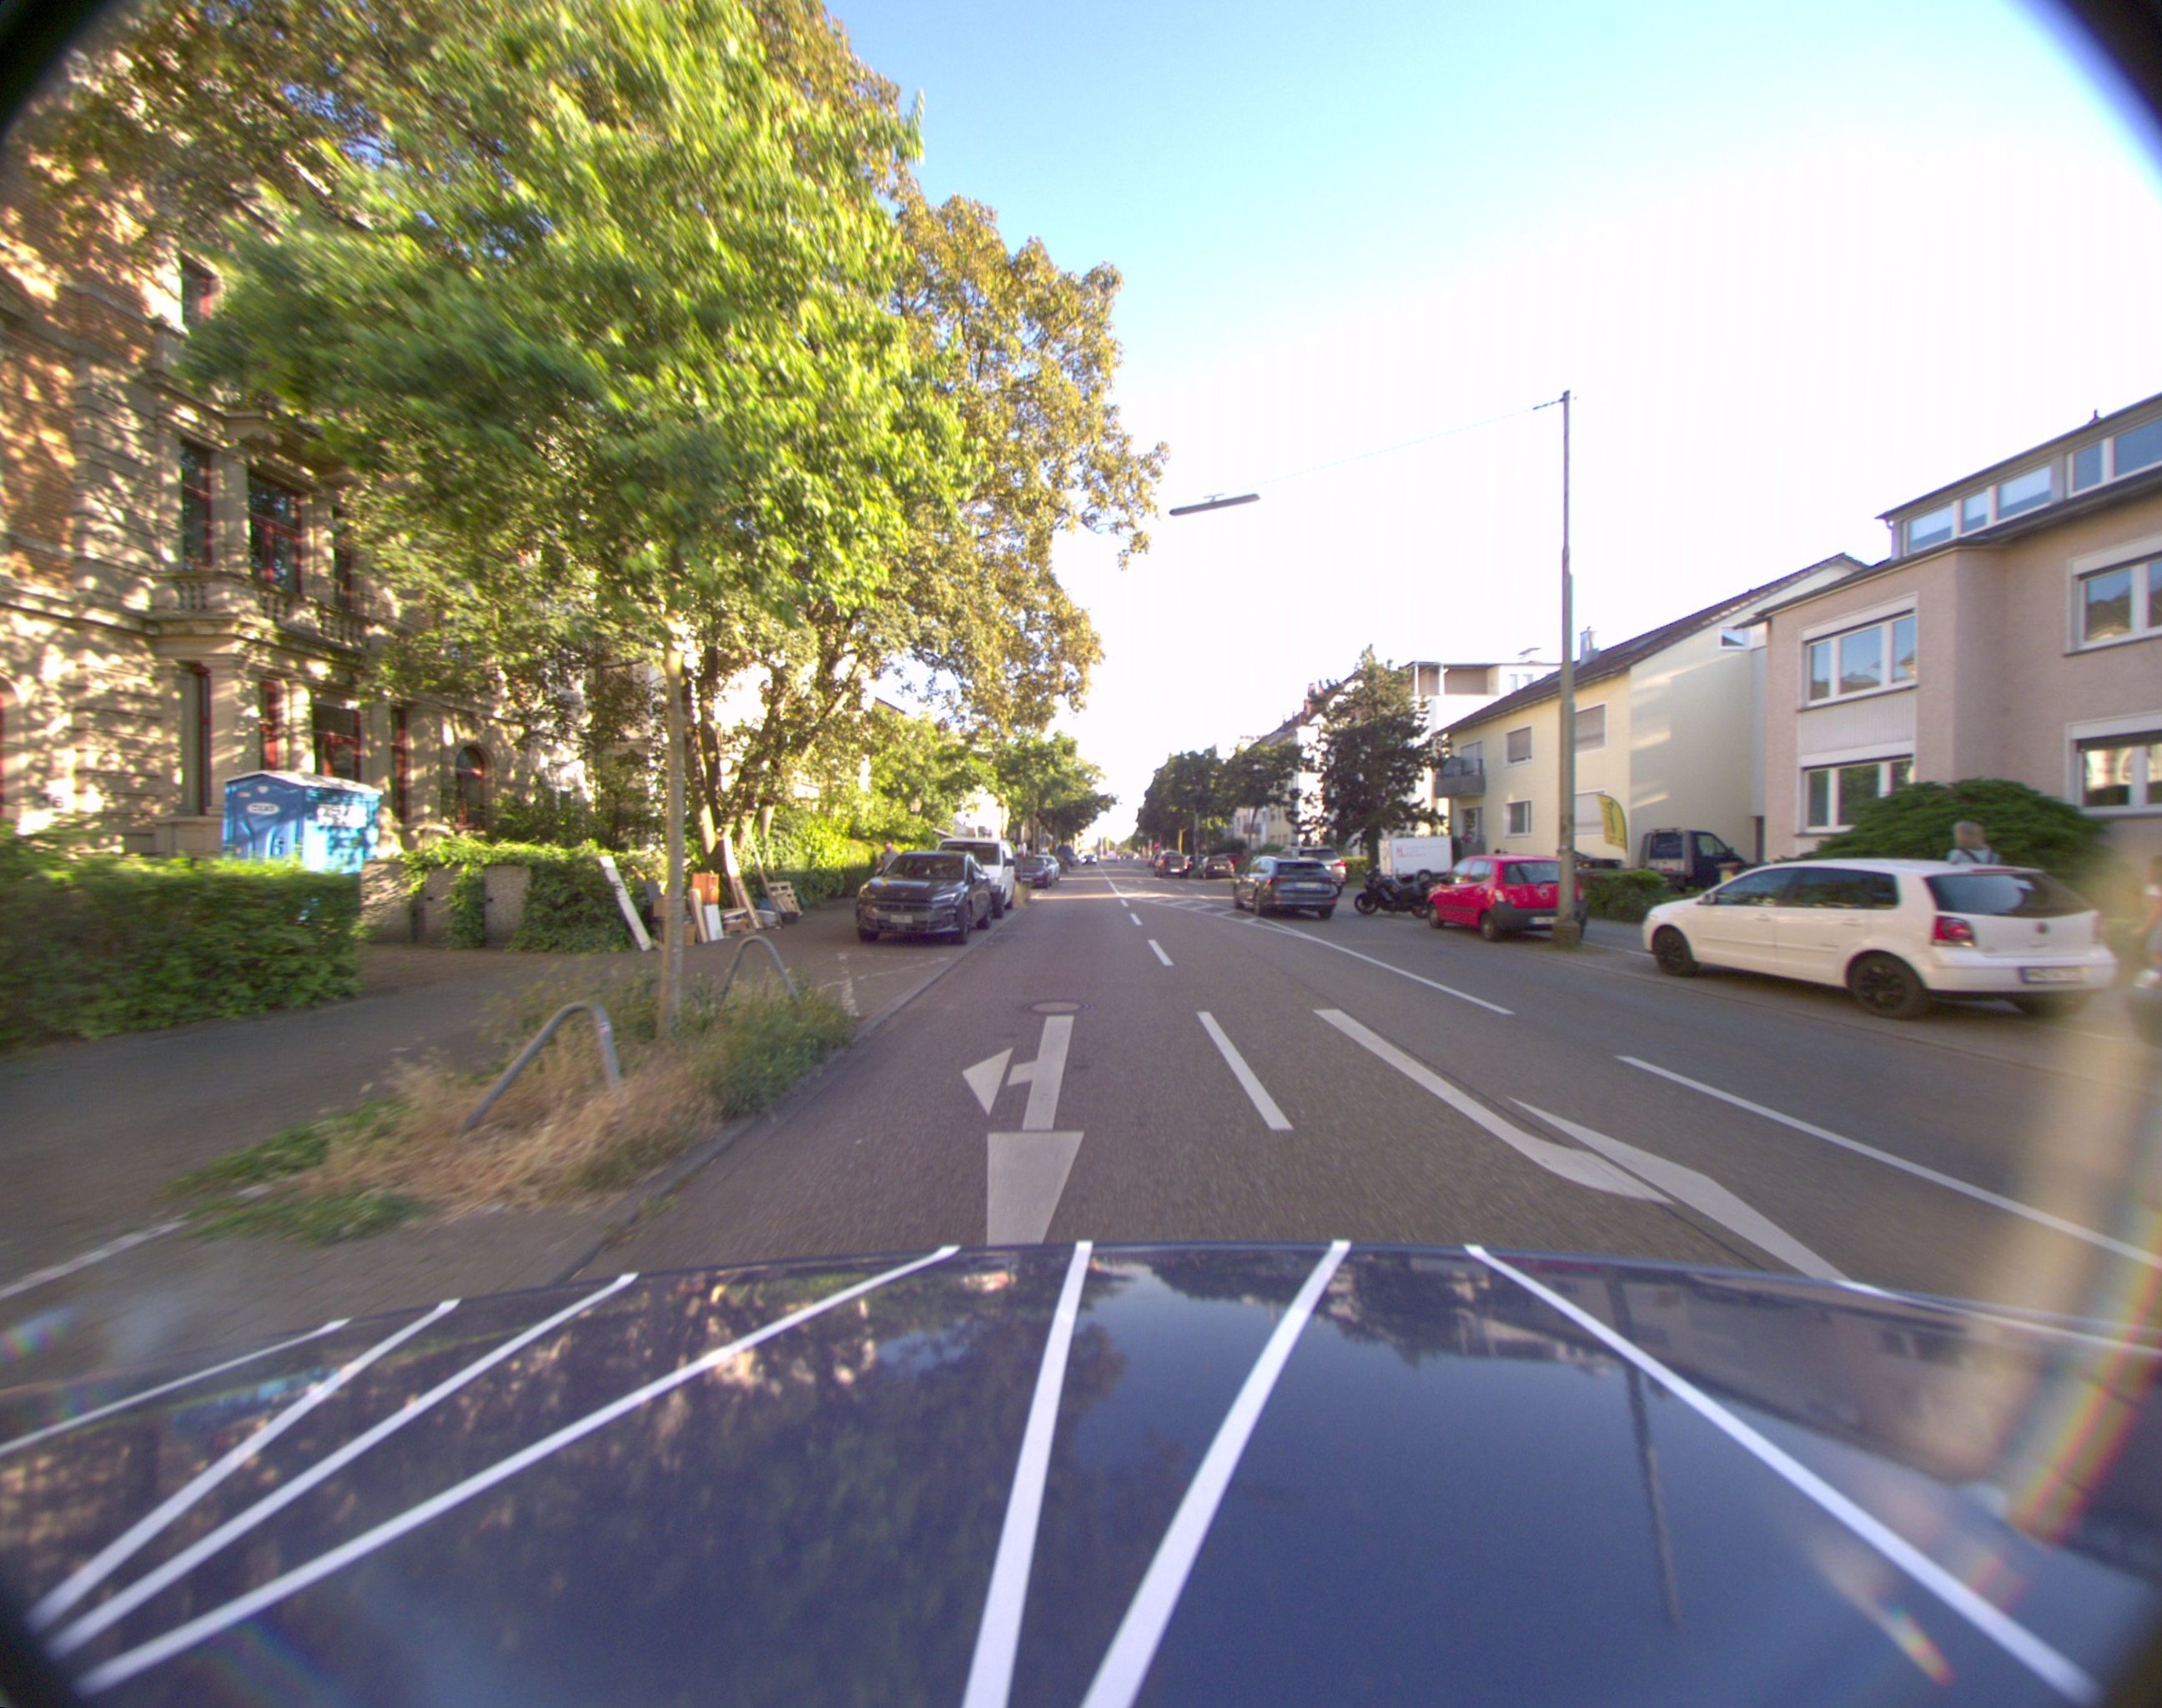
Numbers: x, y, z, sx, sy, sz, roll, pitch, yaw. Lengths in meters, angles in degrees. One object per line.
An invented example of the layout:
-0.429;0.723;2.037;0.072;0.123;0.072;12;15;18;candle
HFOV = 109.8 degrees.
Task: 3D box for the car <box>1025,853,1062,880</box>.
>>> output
-2.114;0.685;43.809;1.825;1.469;4.621;0;0;1;car

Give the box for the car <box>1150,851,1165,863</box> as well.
8.833;0.329;87.923;1.407;1.397;3.683;0;0;2;car

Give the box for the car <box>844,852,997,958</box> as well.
-2.774;0.804;14.184;1.860;1.594;4.311;2;0;0;car

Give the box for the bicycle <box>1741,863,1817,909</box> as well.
17.531;0.783;19.130;0.333;1.080;1.711;0;1;1;bicycle

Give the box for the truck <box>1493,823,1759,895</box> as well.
17.397;0.153;24.537;6.912;2.172;2.276;0;1;1;truck

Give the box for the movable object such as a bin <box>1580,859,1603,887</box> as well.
18.278;0.679;27.211;0.504;1.013;0.450;0;1;0;movable object such as a bin

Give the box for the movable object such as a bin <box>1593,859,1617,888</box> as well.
18.312;0.682;26.563;0.504;1.013;0.450;0;1;0;movable object such as a bin

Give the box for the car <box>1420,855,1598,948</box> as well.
7.875;0.792;14.352;1.596;1.514;3.437;0;0;4;car

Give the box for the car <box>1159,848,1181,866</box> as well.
9.009;0.279;77.318;1.740;1.799;4.191;0;0;1;car

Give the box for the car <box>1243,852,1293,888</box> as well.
8.364;0.689;34.136;1.577;1.546;2.749;0;1;-1;car

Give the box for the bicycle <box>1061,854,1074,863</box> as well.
-1.517;0.535;86.465;1.469;1.058;0.445;0;1;1;bicycle

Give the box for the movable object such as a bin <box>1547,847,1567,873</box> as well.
18.373;0.232;29.334;0.504;1.013;0.450;0;1;0;movable object such as a bin

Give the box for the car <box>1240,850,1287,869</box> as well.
14.723;0.440;61.379;3.467;1.515;1.686;0;0;2;car

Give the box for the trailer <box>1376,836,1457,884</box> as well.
14.304;0.226;32.513;2.780;2.002;1.552;0;1;-2;trailer

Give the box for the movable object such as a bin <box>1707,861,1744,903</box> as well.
17.352;0.748;20.457;0.490;1.084;0.586;0;1;1;movable object such as a bin

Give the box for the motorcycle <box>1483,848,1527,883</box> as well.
17.302;0.452;31.056;0.572;1.366;2.258;0;1;0;motorcycle

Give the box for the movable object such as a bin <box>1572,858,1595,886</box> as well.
18.338;0.665;27.732;0.504;1.013;0.450;0;1;0;movable object such as a bin

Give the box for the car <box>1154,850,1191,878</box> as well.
5.685;0.587;47.670;1.840;1.561;3.999;2;1;0;car

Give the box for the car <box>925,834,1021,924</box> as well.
-2.682;0.567;19.971;1.908;2.091;4.640;0;0;-1;car

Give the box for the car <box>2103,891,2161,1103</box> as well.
7.907;0.960;3.472;1.547;1.388;3.665;0;0;1;car

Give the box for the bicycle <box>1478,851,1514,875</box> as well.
18.727;0.387;34.351;0.520;1.057;2.046;0;1;0;bicycle

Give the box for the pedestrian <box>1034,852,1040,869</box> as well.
-4.802;0.711;82.865;0.619;1.761;0.562;0;0;2;pedestrian

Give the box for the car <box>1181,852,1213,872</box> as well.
8.762;0.557;57.630;1.862;1.477;3.999;0;0;0;car

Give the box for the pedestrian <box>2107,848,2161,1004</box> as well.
10.643;0.688;7.375;0.591;1.487;0.542;0;1;3;pedestrian

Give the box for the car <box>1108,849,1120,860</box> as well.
5.670;0.124;131.039;1.893;1.793;4.430;2;0;-1;car

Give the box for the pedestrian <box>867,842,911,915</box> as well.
-4.732;0.587;18.783;0.823;1.763;1.089;0;1;-3;pedestrian

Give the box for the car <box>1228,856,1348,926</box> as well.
4.996;0.821;18.979;1.765;1.443;4.533;2;0;1;car

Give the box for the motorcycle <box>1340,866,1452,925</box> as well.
7.601;0.958;18.492;1.184;1.259;2.365;0;1;-23;motorcycle

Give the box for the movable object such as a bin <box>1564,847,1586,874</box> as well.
18.358;0.236;28.232;0.504;1.013;0.450;0;1;0;movable object such as a bin

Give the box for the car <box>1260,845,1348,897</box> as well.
8.237;0.564;28.539;1.892;1.769;4.725;0;0;0;car

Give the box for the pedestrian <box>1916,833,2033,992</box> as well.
10.335;0.658;8.806;0.715;1.782;0.506;0;1;3;pedestrian

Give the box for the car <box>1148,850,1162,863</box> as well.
8.957;0.337;92.612;1.407;1.456;3.682;-2;1;2;car

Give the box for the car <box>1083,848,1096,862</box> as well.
1.117;0.117;100.741;1.596;1.696;4.000;0;0;0;car

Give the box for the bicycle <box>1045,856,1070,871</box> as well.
-1.883;0.751;59.847;1.894;1.155;0.616;2;2;28;bicycle

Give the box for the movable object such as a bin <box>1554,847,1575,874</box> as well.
18.336;0.236;28.815;0.504;1.013;0.450;0;1;0;movable object such as a bin

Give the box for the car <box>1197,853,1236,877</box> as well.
8.275;0.646;46.838;1.641;1.399;4.443;0;0;0;car

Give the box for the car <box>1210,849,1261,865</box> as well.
15.350;0.324;75.569;4.563;1.397;1.739;-2;1;-9;car

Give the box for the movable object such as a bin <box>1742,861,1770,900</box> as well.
18.038;0.704;20.304;0.436;1.032;0.349;0;1;0;movable object such as a bin

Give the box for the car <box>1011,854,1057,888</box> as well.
-2.126;0.742;35.190;1.761;1.412;4.614;2;0;0;car

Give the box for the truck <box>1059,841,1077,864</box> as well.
-1.528;-0.153;90.039;1.998;2.629;5.615;0;0;1;truck

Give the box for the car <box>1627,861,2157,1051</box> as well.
8.148;0.868;8.269;1.597;1.514;3.890;0;0;0;car
